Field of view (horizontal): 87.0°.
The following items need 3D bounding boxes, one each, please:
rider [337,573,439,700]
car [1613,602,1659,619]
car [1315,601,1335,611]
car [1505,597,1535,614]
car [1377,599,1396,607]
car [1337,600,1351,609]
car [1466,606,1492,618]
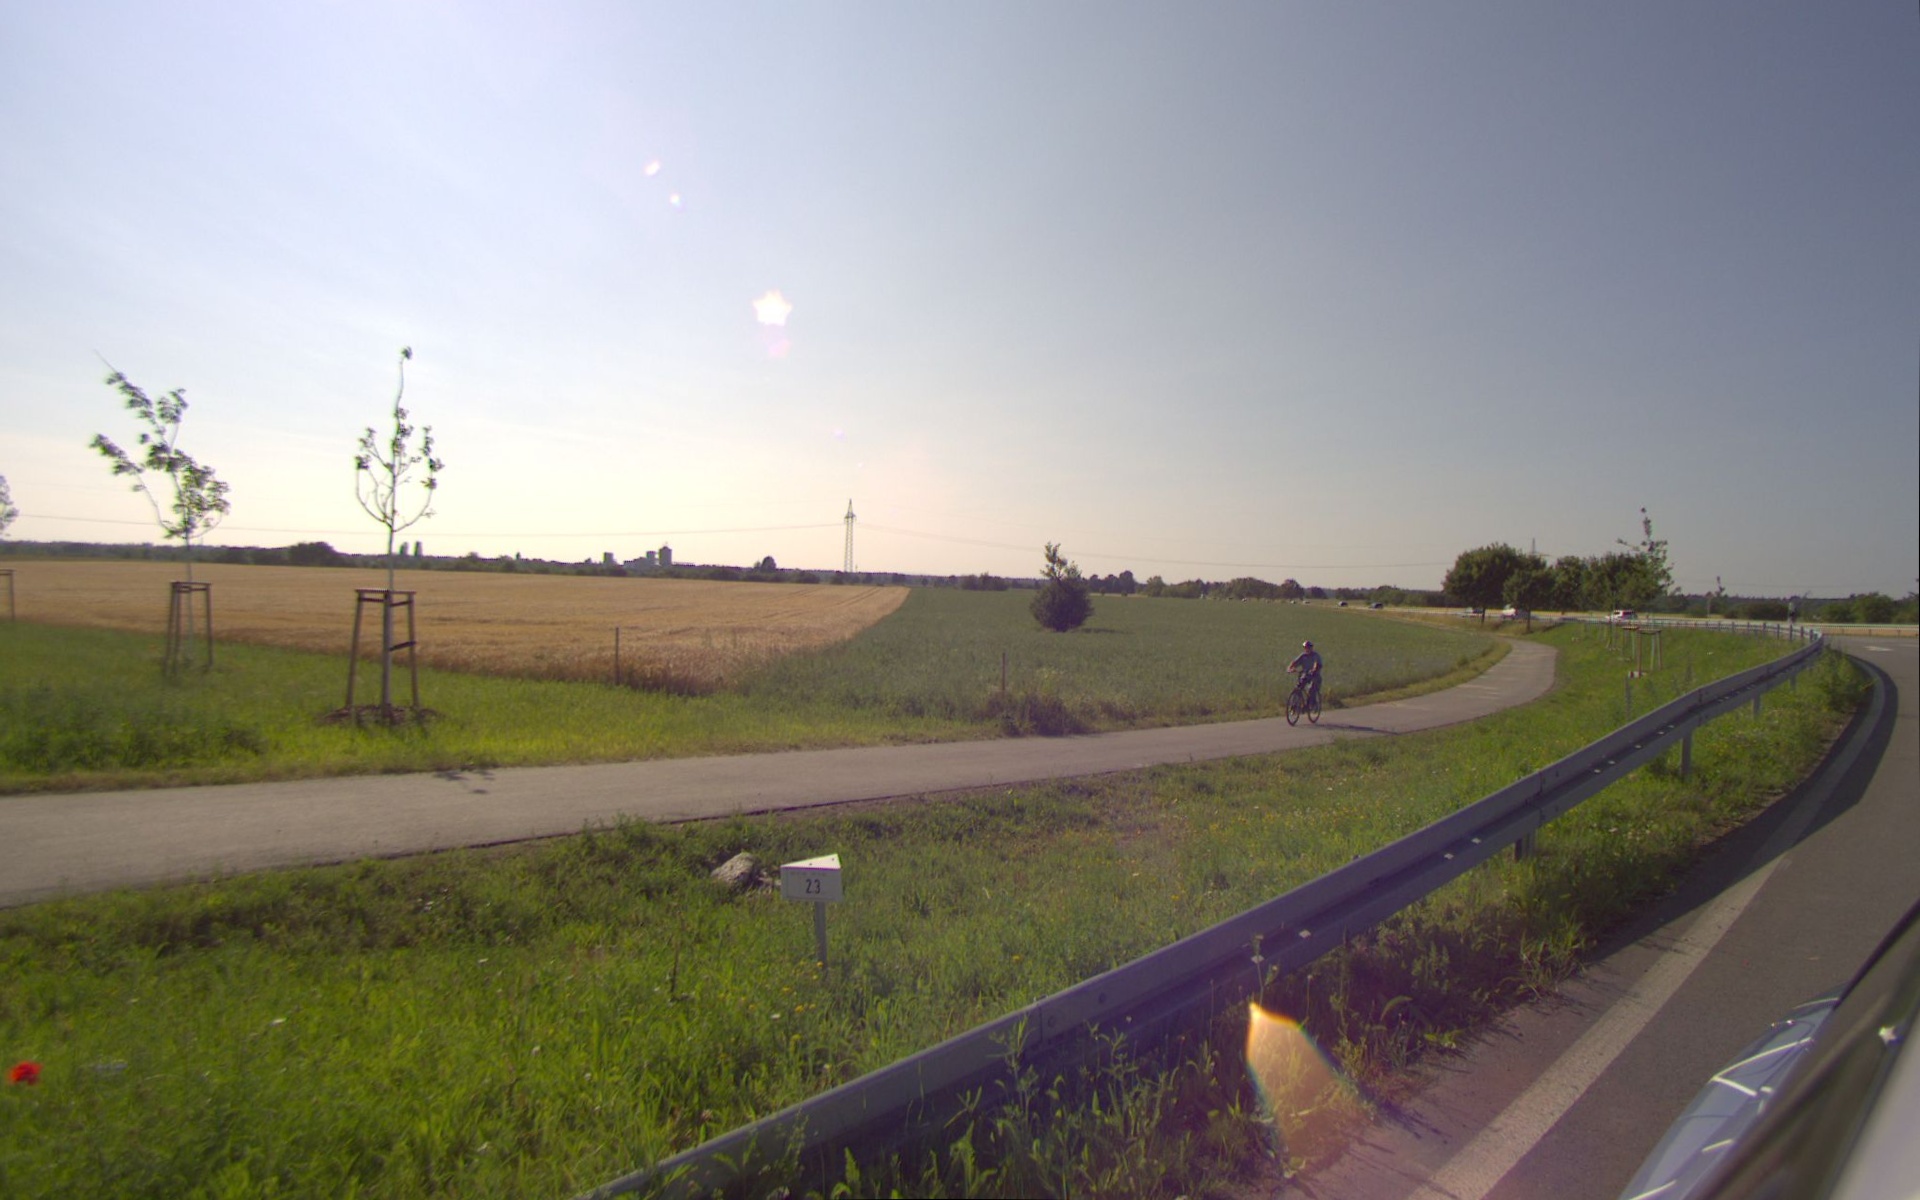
[{"bbox_3d":[-7.832,0.478,13.906,0.806,1.664,0.991,1,0,1],"label":"rider"},{"bbox_3d":[67.951,1.045,101.809,2.090,1.512,5.130,1,-2,13],"label":"car"},{"bbox_3d":[76.919,1.186,213.358,2.771,2.039,6.087,0,1,9],"label":"car"},{"bbox_3d":[73.354,0.781,132.665,2.089,2.040,5.131,1,-2,13],"label":"car"},{"bbox_3d":[82.110,0.558,194.991,1.965,1.612,4.856,1,1,5],"label":"car"},{"bbox_3d":[84.440,0.911,222.854,1.857,1.820,5.080,-1,2,9],"label":"car"},{"bbox_3d":[74.945,1.748,146.278,1.770,1.467,4.693,1,-2,7],"label":"car"}]
